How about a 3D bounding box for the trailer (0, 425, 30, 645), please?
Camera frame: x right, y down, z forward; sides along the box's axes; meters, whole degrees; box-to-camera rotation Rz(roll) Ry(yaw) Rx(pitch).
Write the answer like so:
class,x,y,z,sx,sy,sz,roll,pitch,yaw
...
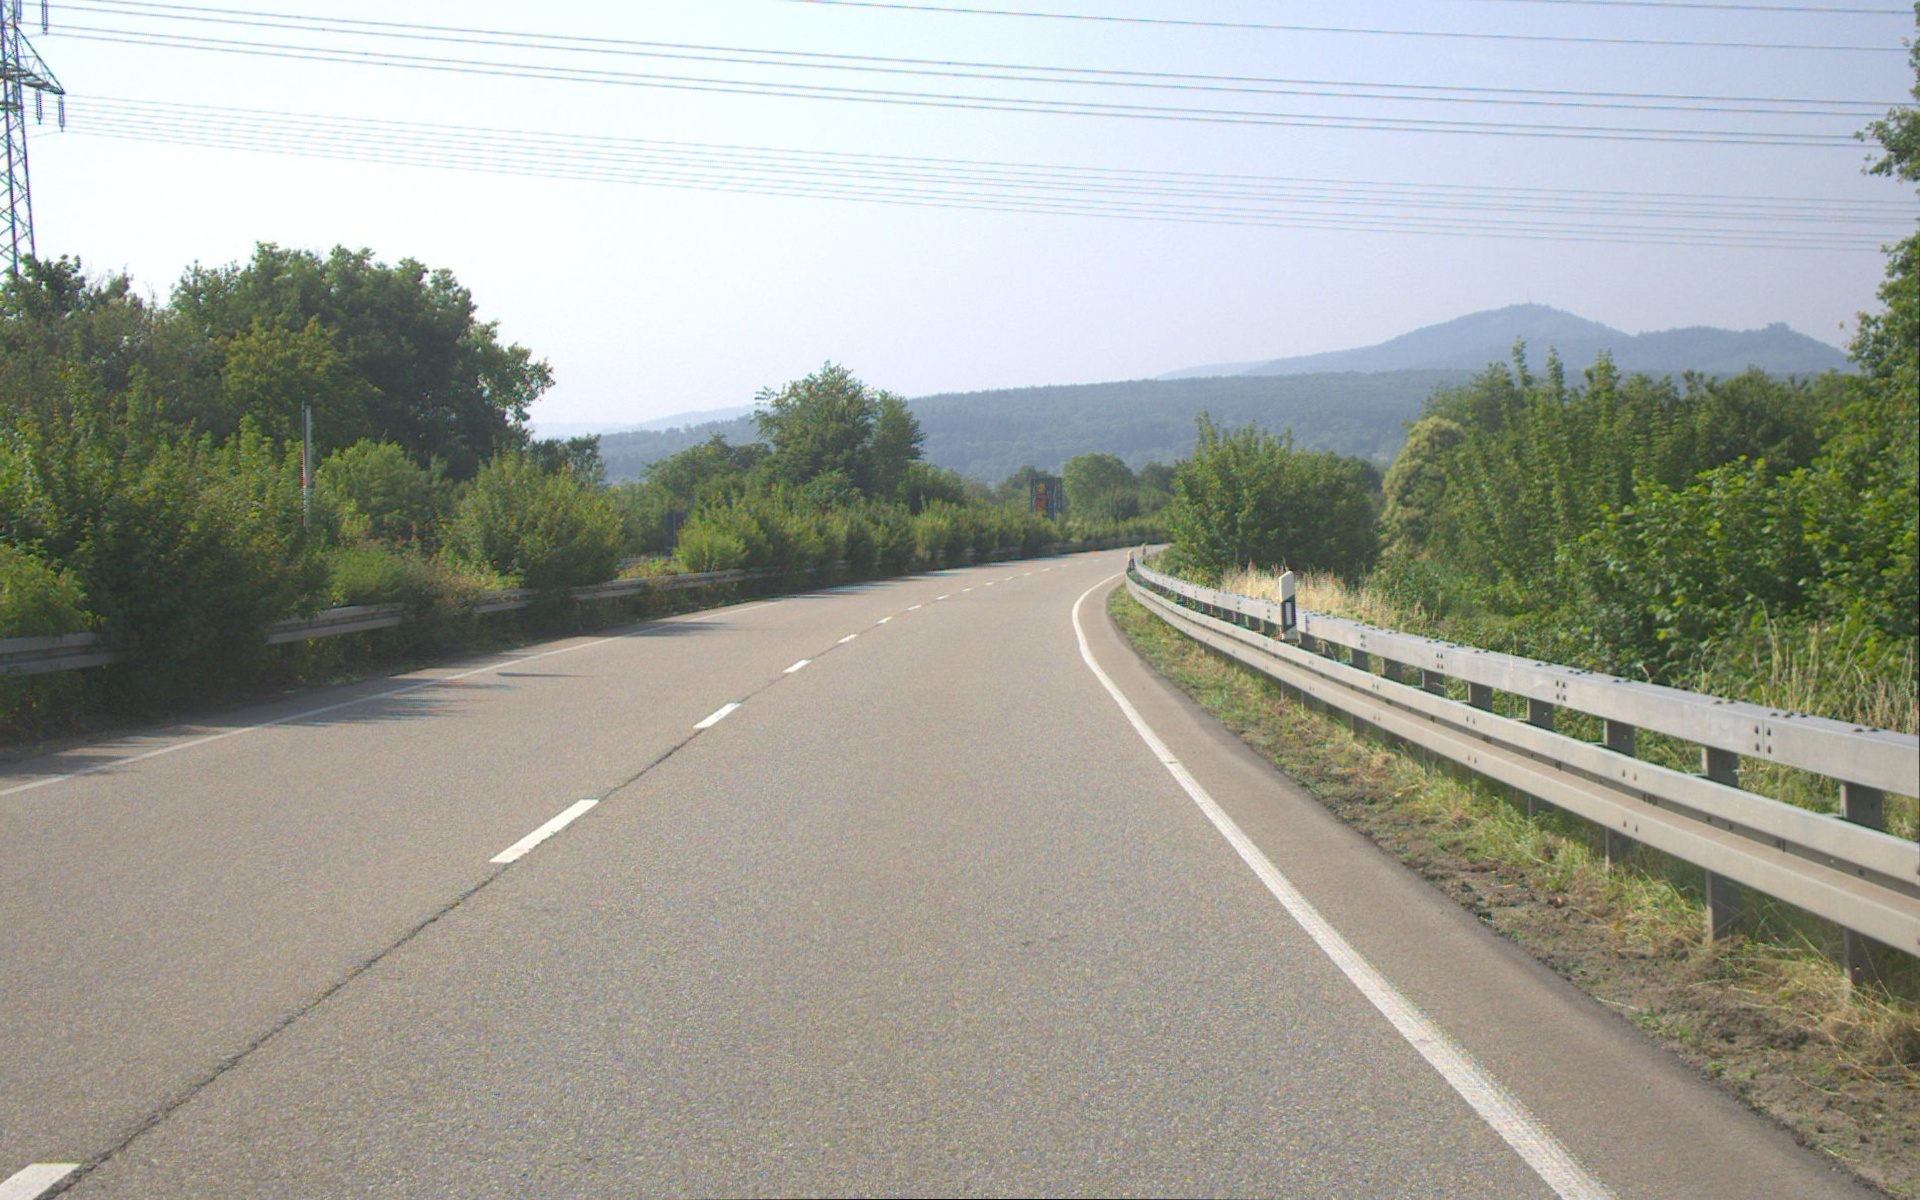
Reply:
class,x,y,z,sx,sy,sz,roll,pitch,yaw
trailer,-15.602,-0.911,47.552,1.993,3.364,13.428,0,1,-1
